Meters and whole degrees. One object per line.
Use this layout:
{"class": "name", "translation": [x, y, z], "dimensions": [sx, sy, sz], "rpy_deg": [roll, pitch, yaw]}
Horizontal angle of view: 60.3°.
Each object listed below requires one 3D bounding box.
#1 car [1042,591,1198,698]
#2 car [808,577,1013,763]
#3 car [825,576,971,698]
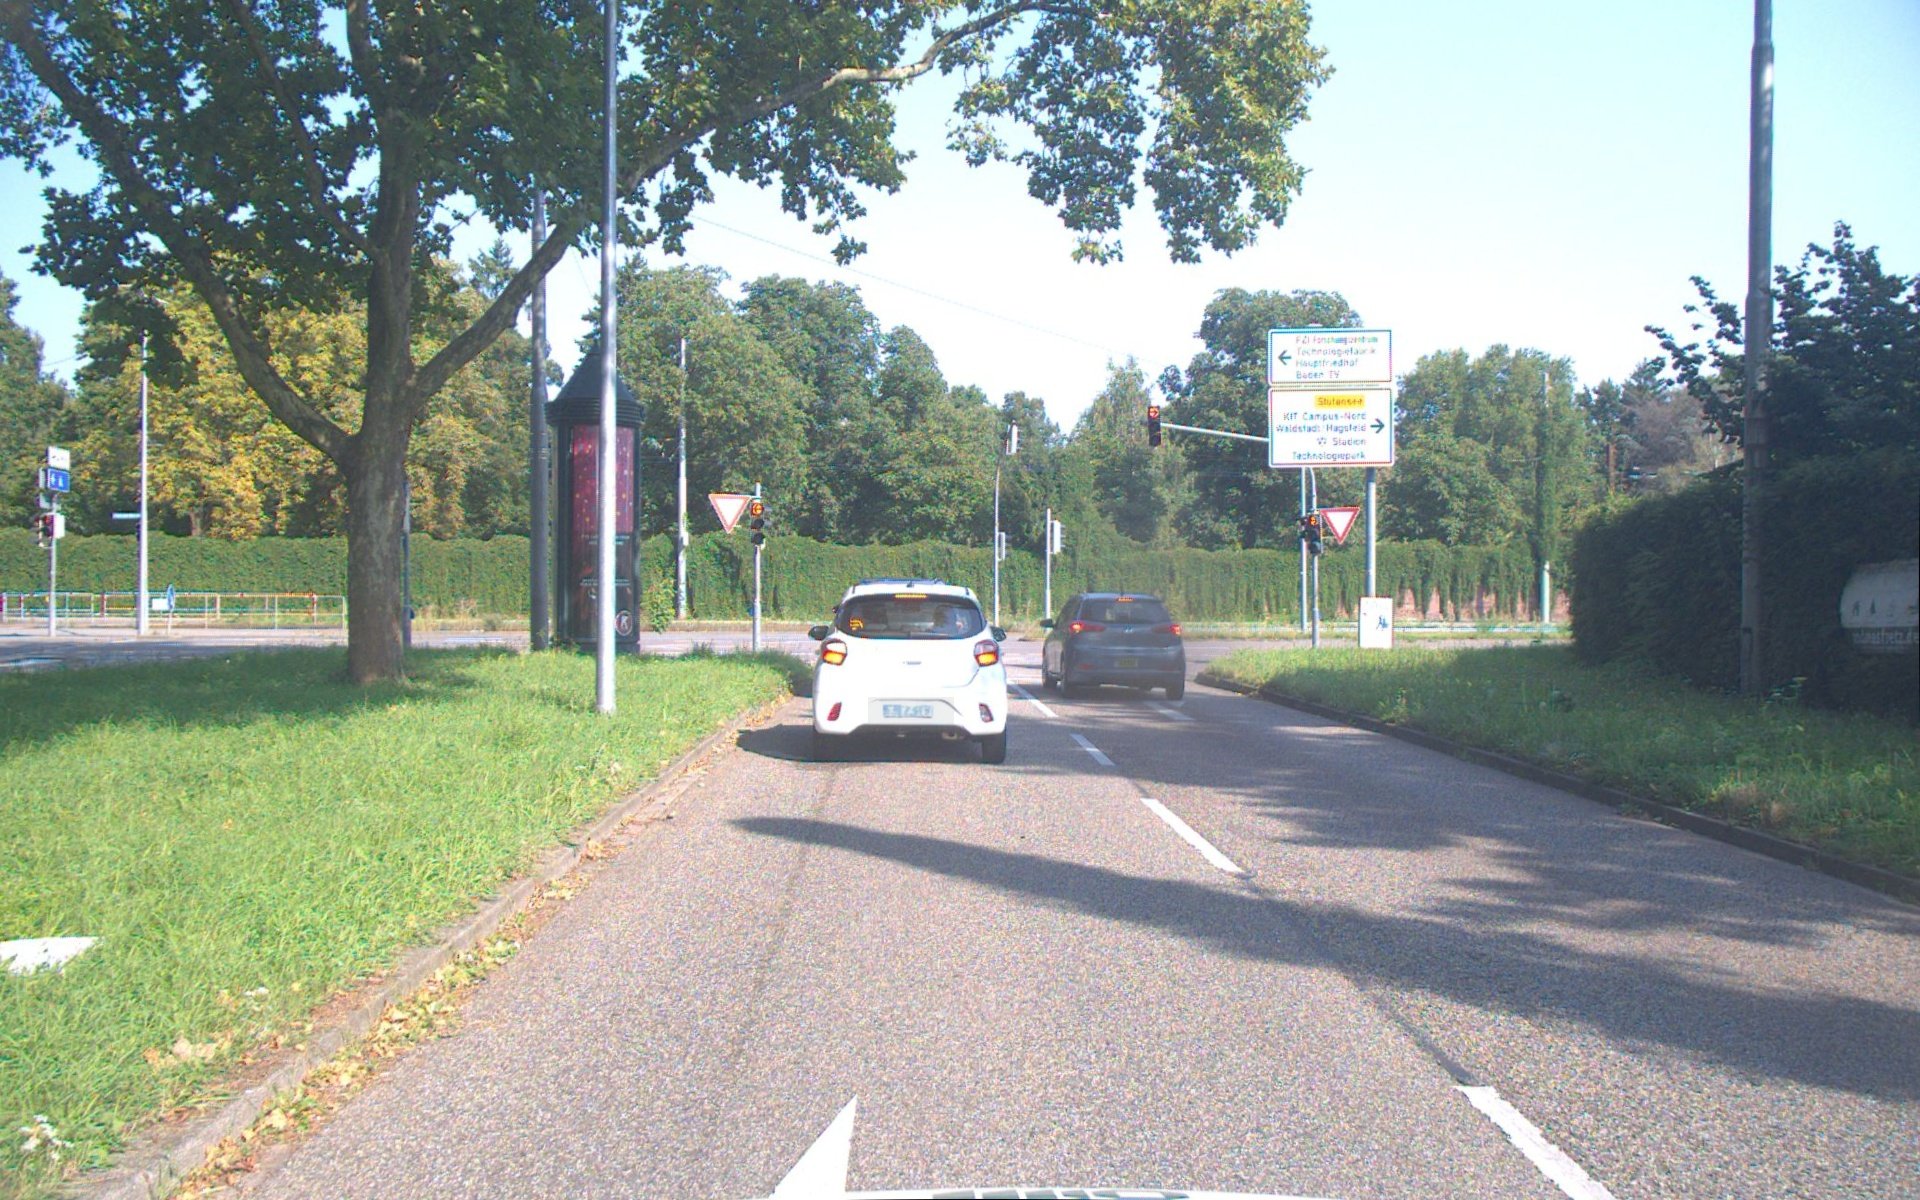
{"class": "car", "translation": [2.257, 0.597, 24.257], "dimensions": [1.761, 1.425, 3.998], "rpy_deg": [1, 0, -2]}
{"class": "car", "translation": [-0.419, 0.567, 15.430], "dimensions": [1.653, 1.487, 3.999], "rpy_deg": [1, 0, -1]}
{"class": "car", "translation": [-0.751, 0.455, 22.327], "dimensions": [1.652, 1.487, 3.851], "rpy_deg": [1, 0, 2]}
